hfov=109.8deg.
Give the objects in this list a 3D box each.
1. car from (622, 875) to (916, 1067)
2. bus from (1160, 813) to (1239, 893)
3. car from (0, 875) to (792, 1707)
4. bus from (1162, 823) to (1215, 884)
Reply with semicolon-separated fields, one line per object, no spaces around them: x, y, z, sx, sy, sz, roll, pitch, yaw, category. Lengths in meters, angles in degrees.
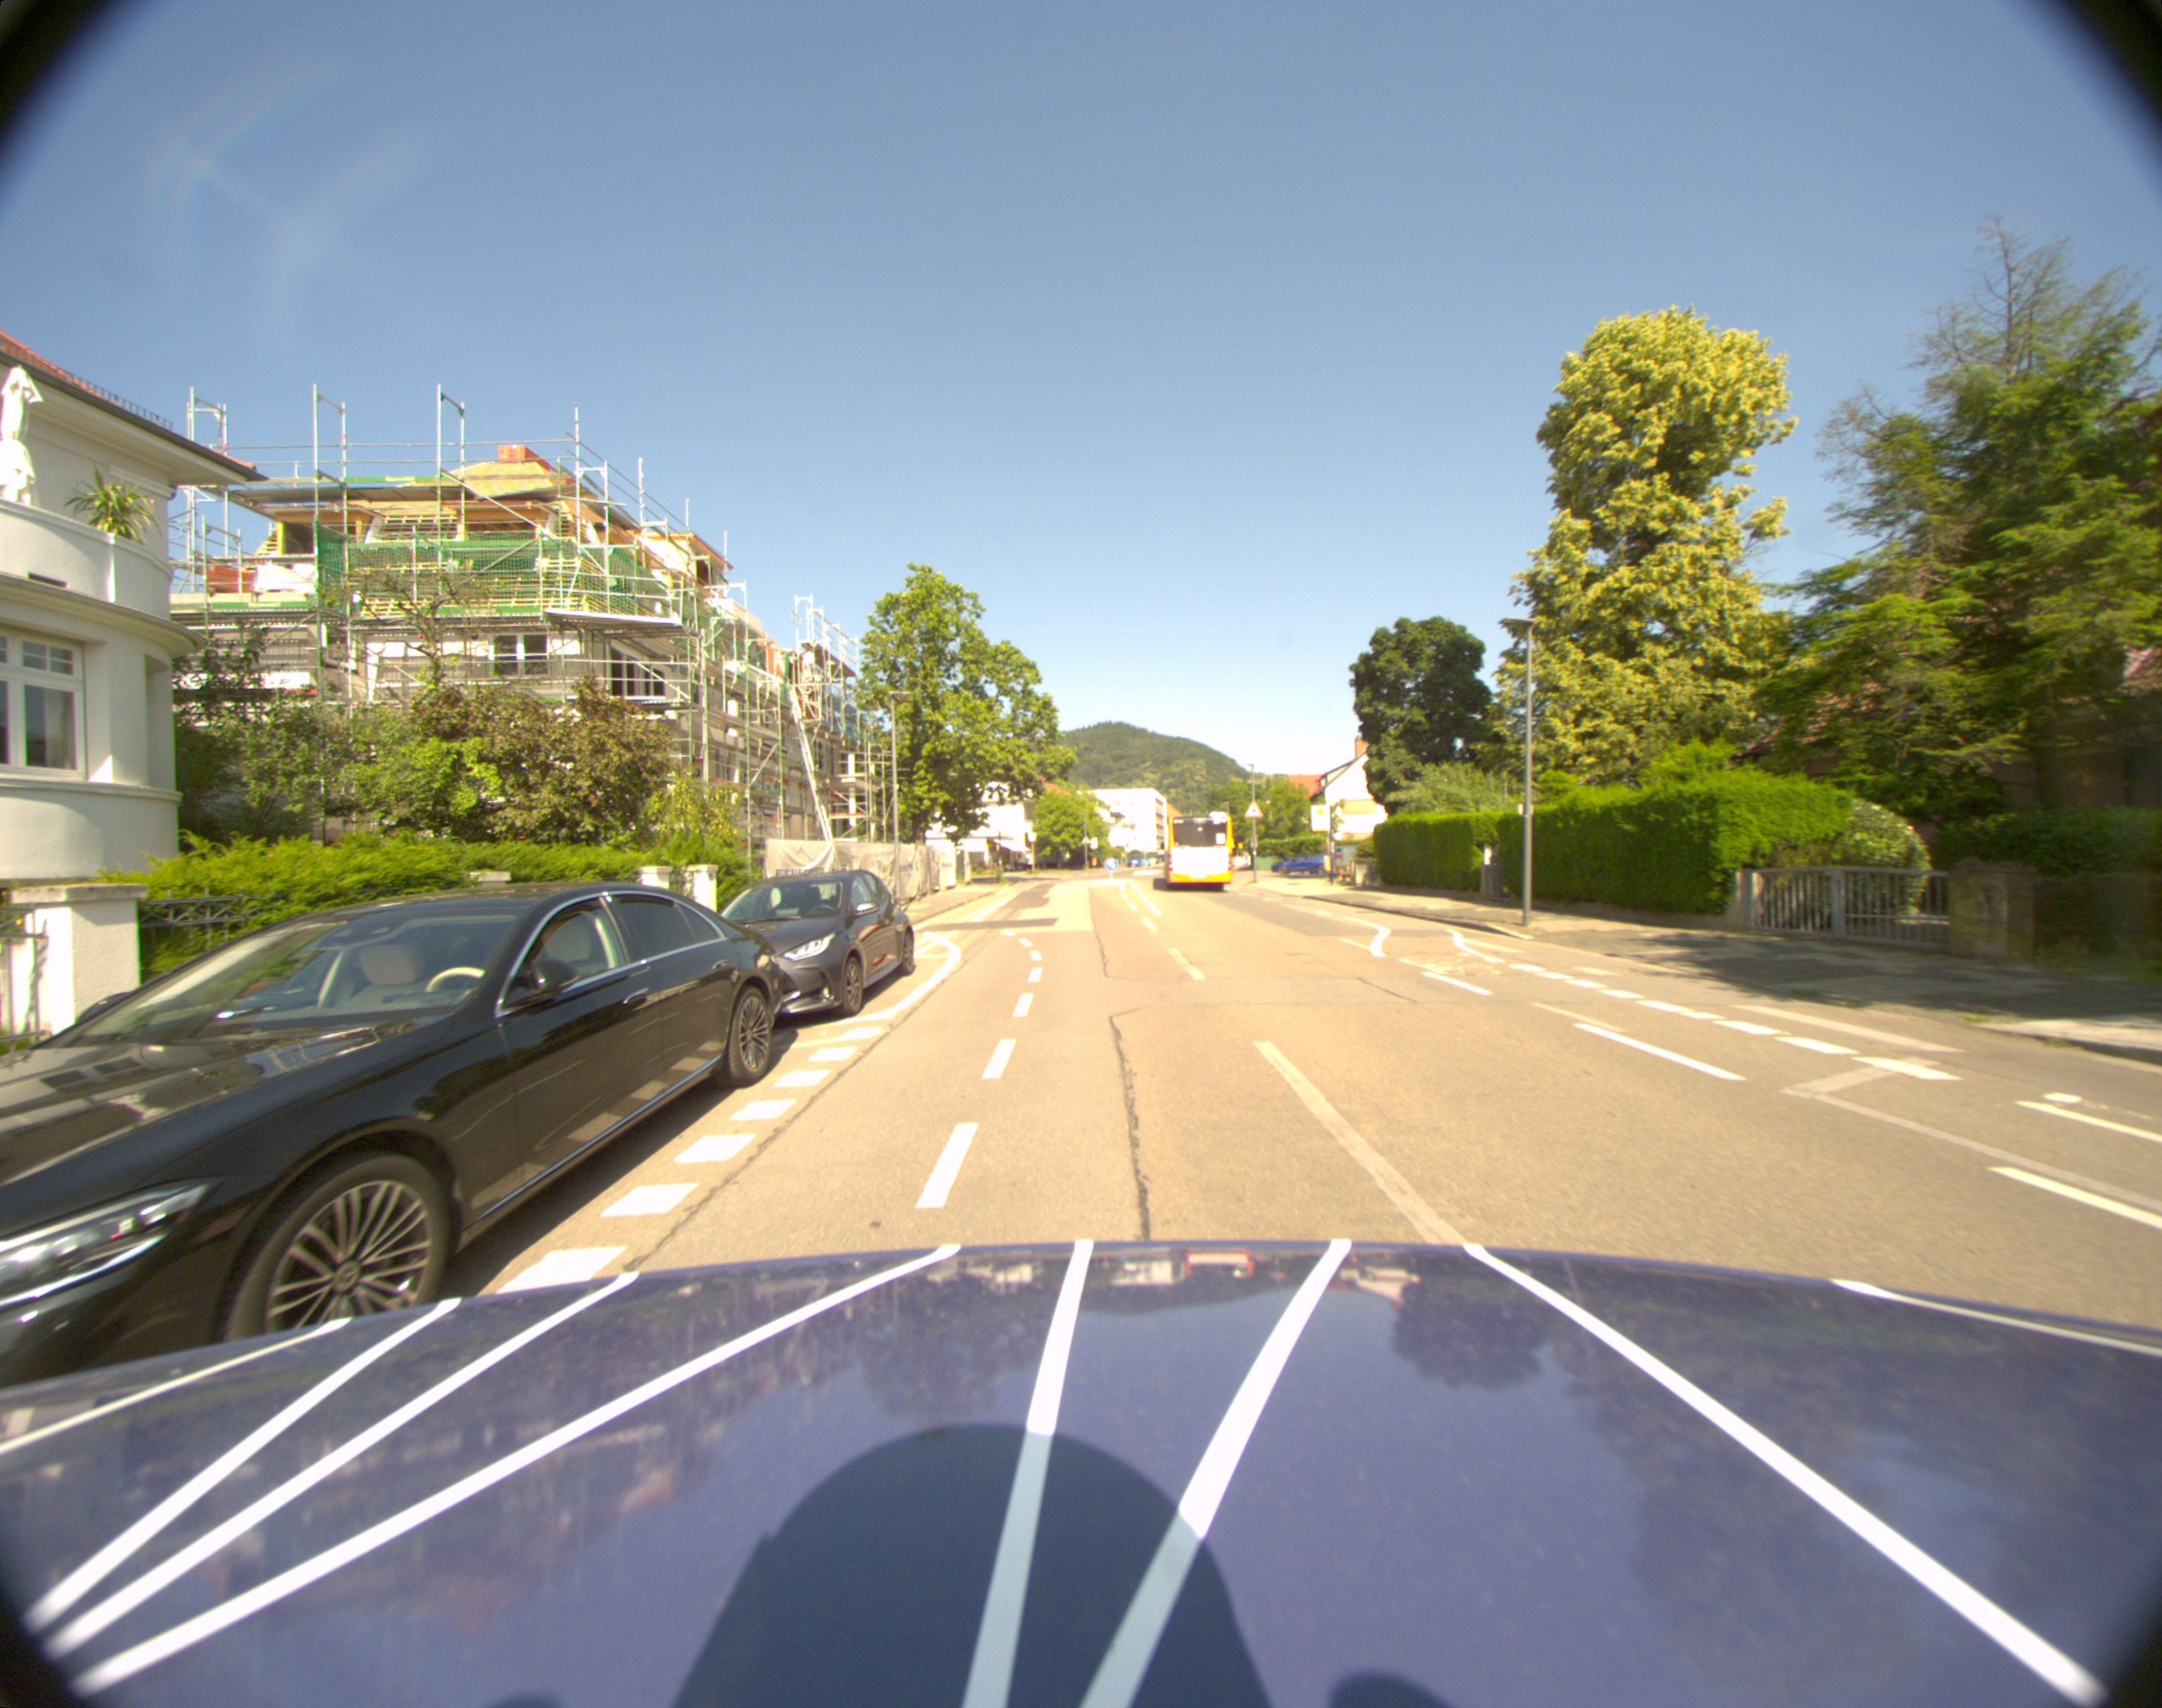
-3.147;1.076;8.566;1.662;1.467;3.786;-4;0;0;car
5.200;-0.048;34.913;2.751;3.156;9.781;1;0;4;bus
-3.135;1.017;3.662;1.701;1.573;4.899;-4;0;-3;car
6.240;-0.042;44.600;2.750;3.156;9.783;1;0;7;bus
